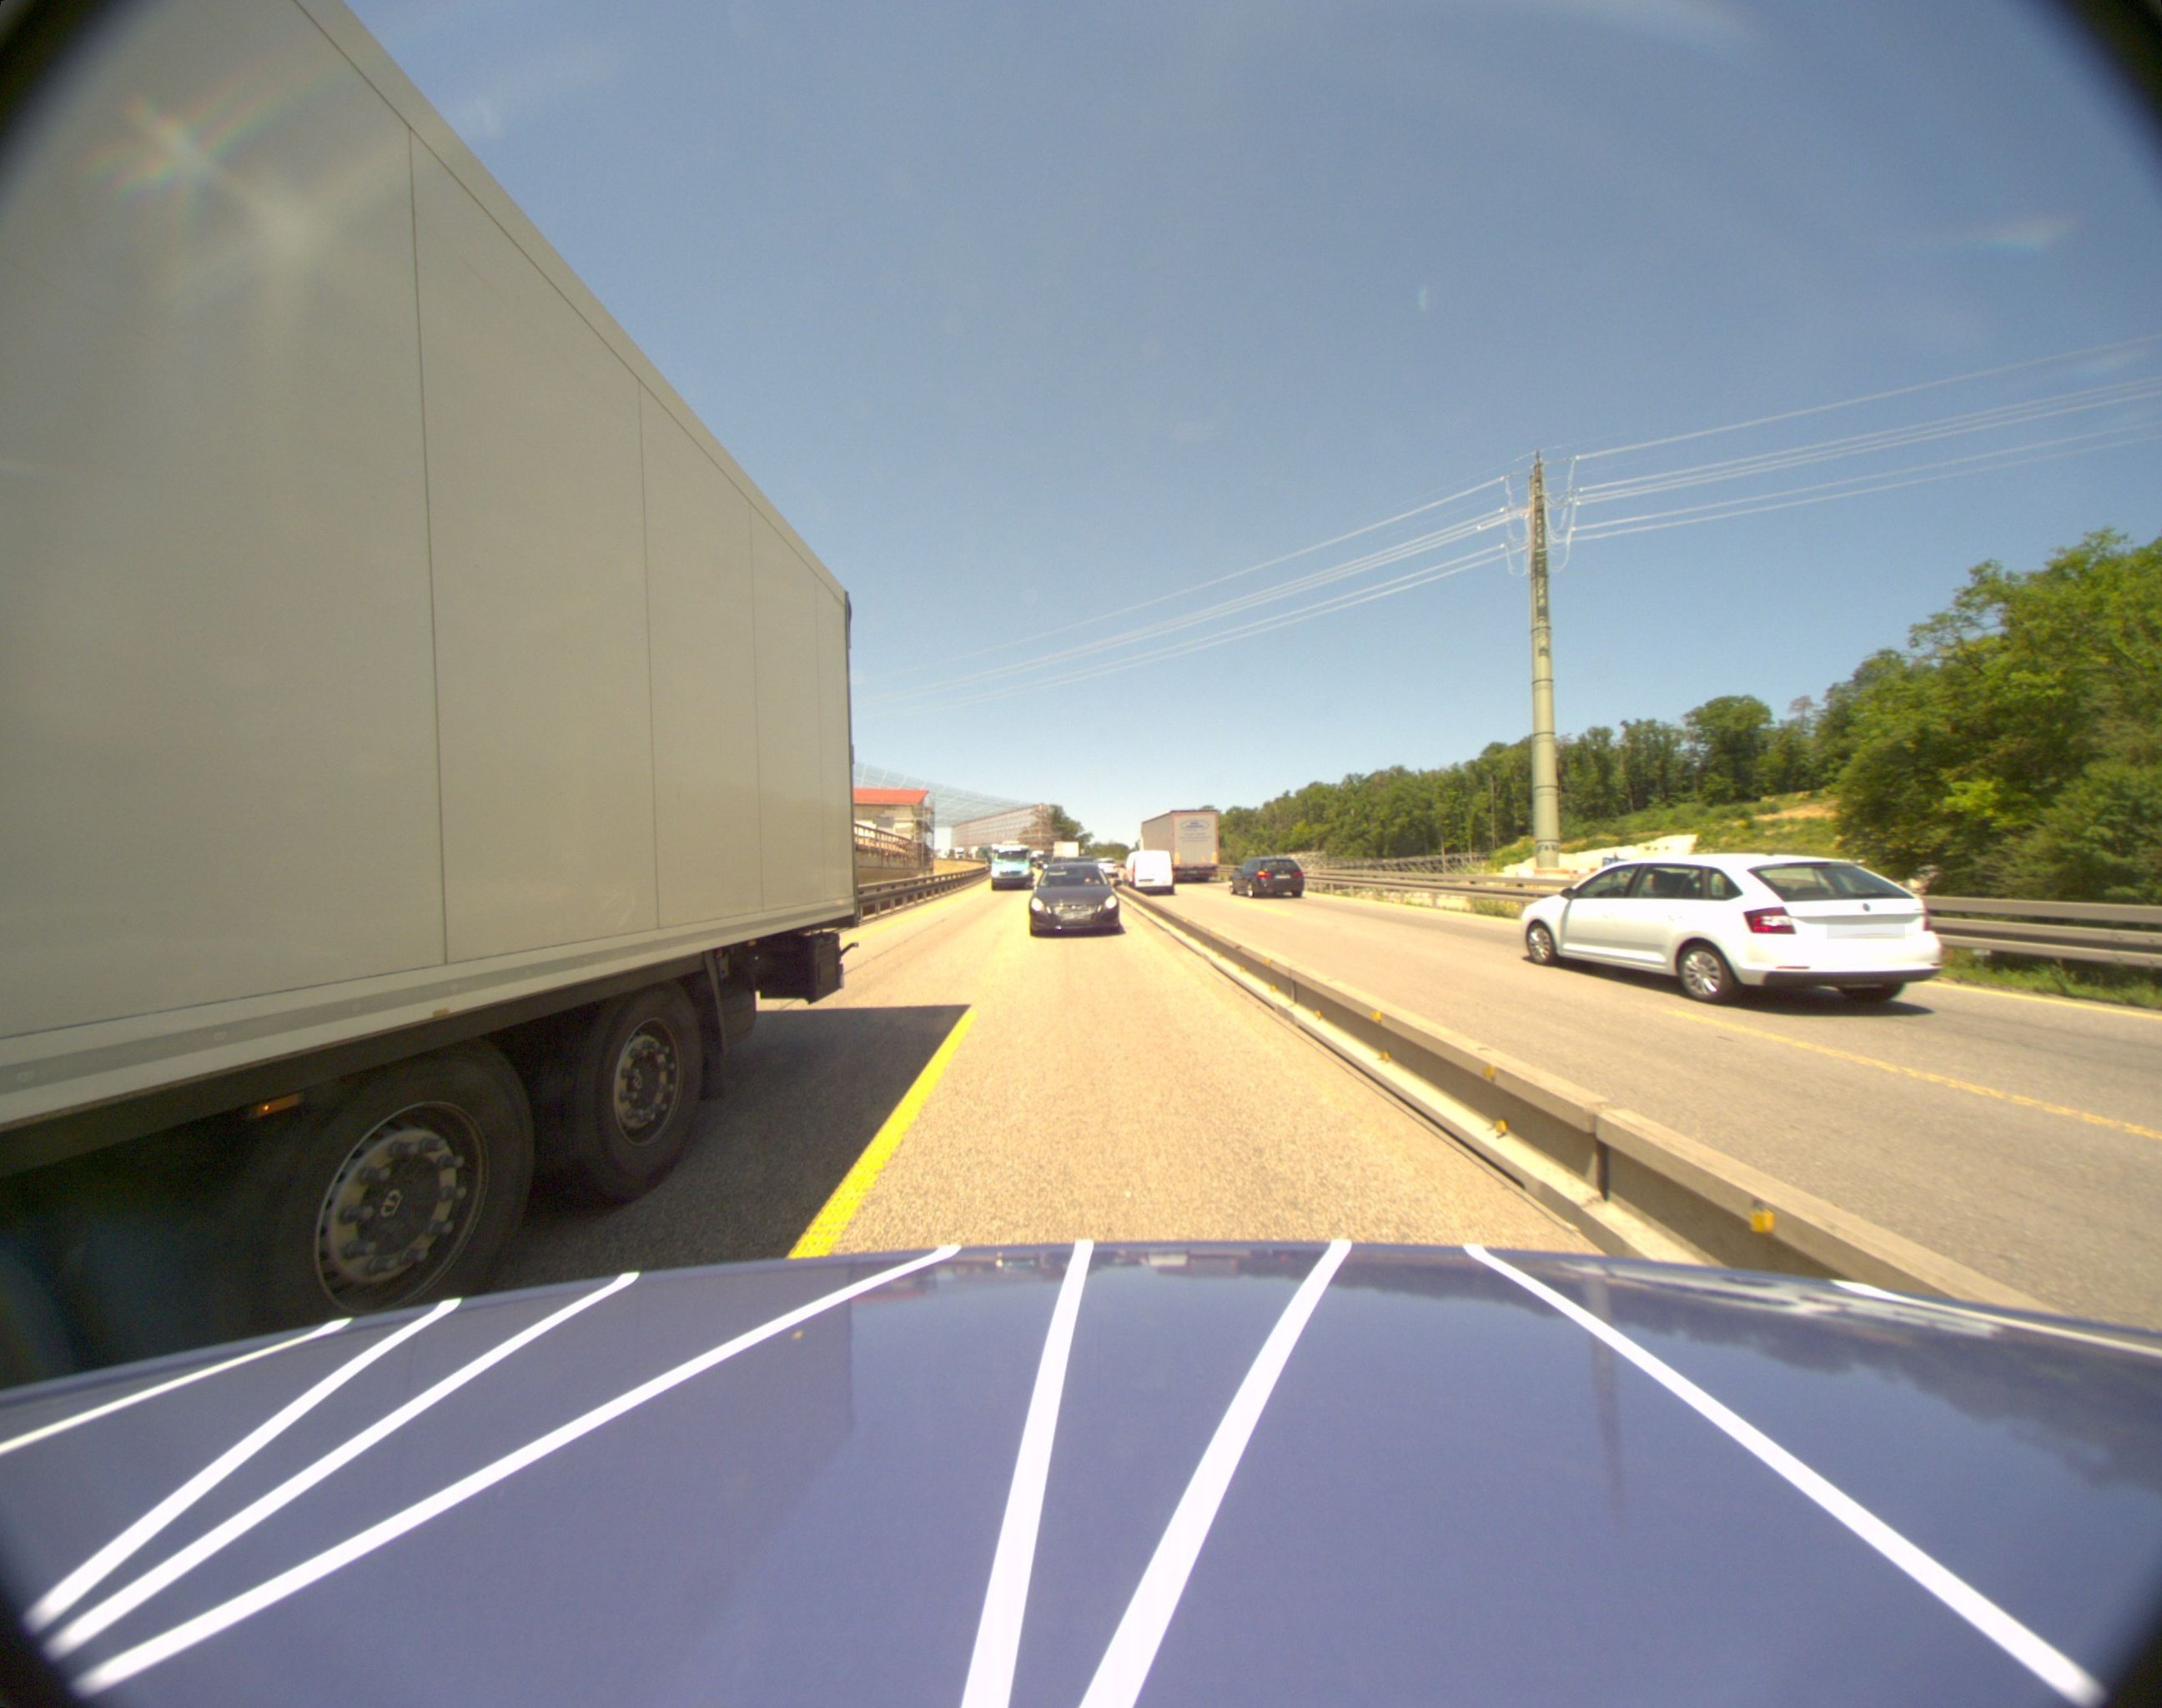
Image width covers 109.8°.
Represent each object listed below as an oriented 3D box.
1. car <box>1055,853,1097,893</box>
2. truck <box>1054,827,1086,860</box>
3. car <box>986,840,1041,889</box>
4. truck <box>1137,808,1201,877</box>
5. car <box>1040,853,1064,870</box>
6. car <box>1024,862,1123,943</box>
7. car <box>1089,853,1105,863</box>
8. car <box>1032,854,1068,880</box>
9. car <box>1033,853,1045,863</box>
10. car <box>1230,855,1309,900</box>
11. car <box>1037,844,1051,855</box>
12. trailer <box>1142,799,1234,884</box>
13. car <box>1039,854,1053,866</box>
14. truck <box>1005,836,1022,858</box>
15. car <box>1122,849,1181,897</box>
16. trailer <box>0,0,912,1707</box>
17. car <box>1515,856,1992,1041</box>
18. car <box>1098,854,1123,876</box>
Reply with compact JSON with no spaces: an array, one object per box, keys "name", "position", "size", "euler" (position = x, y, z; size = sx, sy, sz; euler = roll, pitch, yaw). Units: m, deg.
[{"name":"car","position":[-0.181,0.788,32.944],"size":[1.519,1.543,3.861],"euler":[-2,1,4]},{"name":"truck","position":[-2.111,-1.797,135.571],"size":[3.568,5.334,16.081],"euler":[-3,1,-7]},{"name":"car","position":[-3.440,0.484,40.253],"size":[2.217,2.312,6.901],"euler":[-1,0,0]},{"name":"truck","position":[6.112,-0.795,54.166],"size":[3.405,4.396,7.273],"euler":[-2,1,-1]},{"name":"car","position":[-2.474,0.612,65.583],"size":[1.646,1.366,3.345],"euler":[-2,1,4]},{"name":"car","position":[-0.128,0.951,16.722],"size":[1.844,1.475,4.563],"euler":[-2,0,0]},{"name":"car","position":[2.018,0.483,97.706],"size":[1.758,1.237,3.591],"euler":[-2,1,-2]},{"name":"car","position":[-2.126,0.858,53.034],"size":[2.297,1.601,4.664],"euler":[-2,1,-1]},{"name":"car","position":[-6.217,0.642,112.852],"size":[1.647,1.366,3.343],"euler":[-2,1,-3]},{"name":"car","position":[6.703,0.788,27.471],"size":[1.781,1.420,4.303],"euler":[-1,1,0]},{"name":"car","position":[-8.699,-0.979,179.042],"size":[2.916,2.424,7.371],"euler":[-2,1,-3]},{"name":"trailer","position":[6.270,-0.720,47.333],"size":[3.498,4.460,12.923],"euler":[-2,1,-1]},{"name":"car","position":[-4.402,0.710,95.237],"size":[1.647,1.366,3.343],"euler":[-3,1,-5]},{"name":"truck","position":[-11.290,-1.088,127.100],"size":[2.472,3.464,9.862],"euler":[-3,1,-7]},{"name":"car","position":[2.829,0.709,31.486],"size":[1.865,1.762,4.231],"euler":[-2,1,-2]},{"name":"trailer","position":[-3.146,-0.223,2.224],"size":[2.538,4.103,11.546],"euler":[-2,1,0]},{"name":"car","position":[6.746,0.796,8.334],"size":[1.704,1.484,3.999],"euler":[-1,1,0]},{"name":"car","position":[2.217,0.787,57.504],"size":[1.720,1.543,3.860],"euler":[-2,1,0]}]
